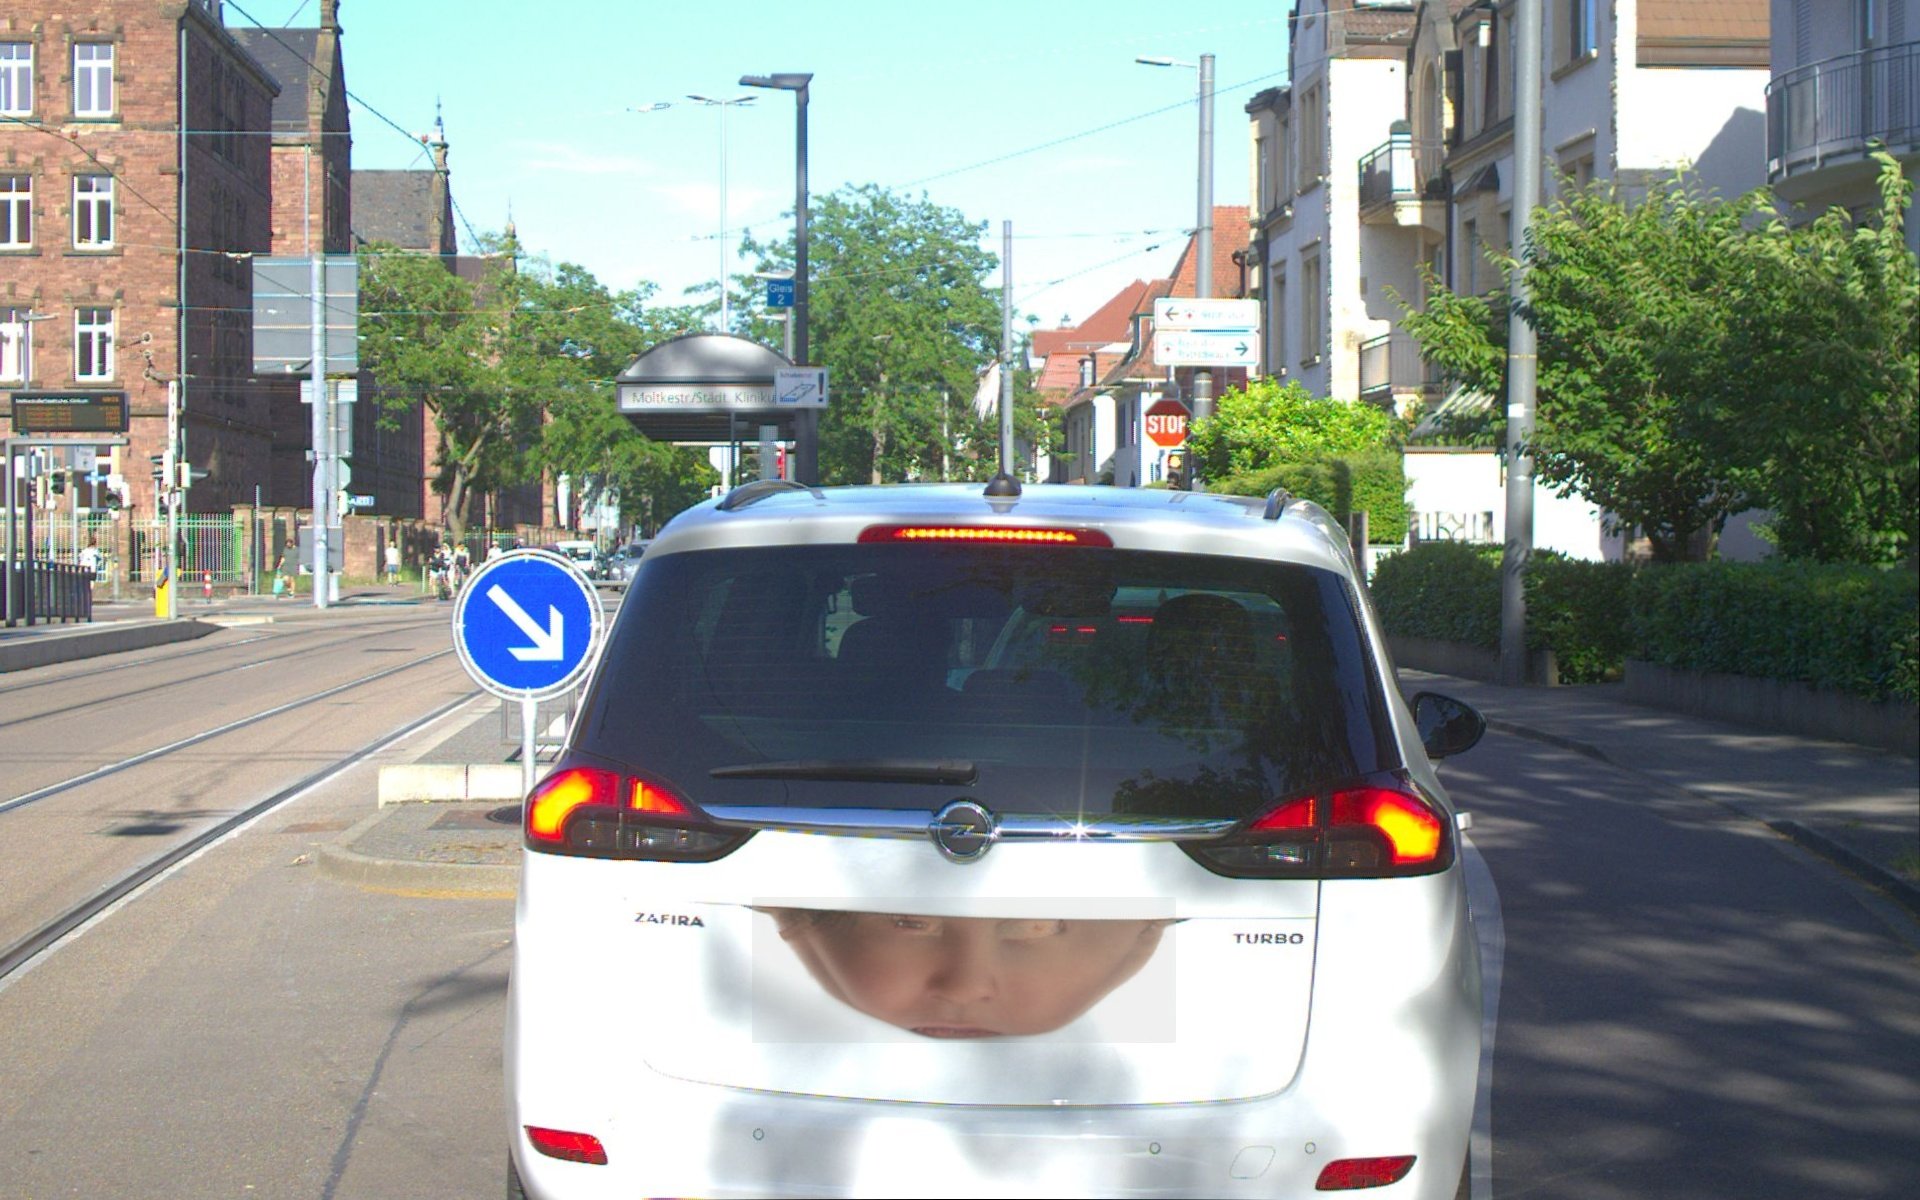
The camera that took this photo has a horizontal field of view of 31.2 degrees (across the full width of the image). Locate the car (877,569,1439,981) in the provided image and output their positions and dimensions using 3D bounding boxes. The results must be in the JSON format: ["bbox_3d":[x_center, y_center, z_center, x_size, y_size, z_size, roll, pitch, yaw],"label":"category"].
[{"bbox_3d":[0.750,0.591,13.985,1.953,1.392,4.000,0,1,2],"label":"car"}]

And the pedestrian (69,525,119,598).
[{"bbox_3d":[-20.178,-0.900,80.101,0.895,1.678,1.029,1,0,-1],"label":"pedestrian"}]

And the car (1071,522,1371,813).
[{"bbox_3d":[1.497,0.334,20.830,1.637,1.595,3.854,0,1,2],"label":"car"}]

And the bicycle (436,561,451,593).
[{"bbox_3d":[-15.478,-0.702,103.085,0.344,0.946,1.160,1,0,-4],"label":"bicycle"}]

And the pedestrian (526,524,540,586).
[{"bbox_3d":[-13.902,-1.463,111.956,0.444,2.007,0.496,0,1,-4],"label":"pedestrian"}]

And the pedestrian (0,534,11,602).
[{"bbox_3d":[-22.953,-0.761,81.283,0.802,1.583,0.935,1,0,-3],"label":"pedestrian"}]

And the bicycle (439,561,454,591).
[{"bbox_3d":[-15.924,-0.743,106.618,0.344,0.946,0.997,1,0,-4],"label":"bicycle"}]

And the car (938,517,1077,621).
[{"bbox_3d":[0.672,-0.480,51.762,1.993,1.497,4.000,0,1,-1],"label":"car"}]

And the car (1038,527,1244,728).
[{"bbox_3d":[1.499,0.183,29.258,1.637,1.595,3.854,0,1,2],"label":"car"}]

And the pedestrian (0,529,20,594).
[{"bbox_3d":[-23.841,-0.955,85.253,0.802,1.583,0.935,1,0,-3],"label":"pedestrian"}]

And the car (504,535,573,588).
[{"bbox_3d":[-13.111,-1.211,107.090,1.993,1.623,4.001,0,1,-5],"label":"car"}]

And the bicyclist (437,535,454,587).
[{"bbox_3d":[-15.469,-1.171,103.286,0.444,1.548,0.743,0,1,-4],"label":"bicyclist"}]

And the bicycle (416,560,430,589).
[{"bbox_3d":[-17.982,-0.856,115.142,0.344,0.946,0.997,1,0,-4],"label":"bicycle"}]

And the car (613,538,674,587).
[{"bbox_3d":[-10.528,-1.256,114.419,1.993,1.623,4.001,0,1,-5],"label":"car"}]

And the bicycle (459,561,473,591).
[{"bbox_3d":[-15.693,-0.765,109.167,0.344,0.946,0.997,1,0,-4],"label":"bicycle"}]

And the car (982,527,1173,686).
[{"bbox_3d":[1.181,0.030,36.182,1.830,1.574,4.010,0,1,-1],"label":"car"}]

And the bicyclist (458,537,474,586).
[{"bbox_3d":[-15.684,-1.230,109.153,0.444,1.548,0.496,0,1,-4],"label":"bicyclist"}]

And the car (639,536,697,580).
[{"bbox_3d":[-11.076,-1.598,130.656,1.993,1.623,4.001,0,1,-2],"label":"car"}]

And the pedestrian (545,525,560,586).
[{"bbox_3d":[-13.299,-1.457,112.252,0.444,2.007,0.496,0,1,-4],"label":"pedestrian"}]

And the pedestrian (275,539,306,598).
[{"bbox_3d":[-19.392,-0.914,99.573,0.734,1.708,0.706,1,0,-1],"label":"pedestrian"}]

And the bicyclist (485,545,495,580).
[{"bbox_3d":[-17.768,-1.414,129.889,0.359,1.299,0.398,0,1,-4],"label":"bicyclist"}]

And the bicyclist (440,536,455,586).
[{"bbox_3d":[-15.888,-1.208,106.568,0.444,1.548,0.496,0,1,-4],"label":"bicyclist"}]

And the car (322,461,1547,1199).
[{"bbox_3d":[0.142,0.584,7.605,1.994,1.639,3.992,1,1,6],"label":"car"}]

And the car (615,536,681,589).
[{"bbox_3d":[-9.731,-1.175,107.313,1.993,1.623,4.001,0,1,-5],"label":"car"}]

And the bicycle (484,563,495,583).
[{"bbox_3d":[-17.759,-1.023,129.853,0.344,0.722,0.997,1,0,-4],"label":"bicycle"}]
